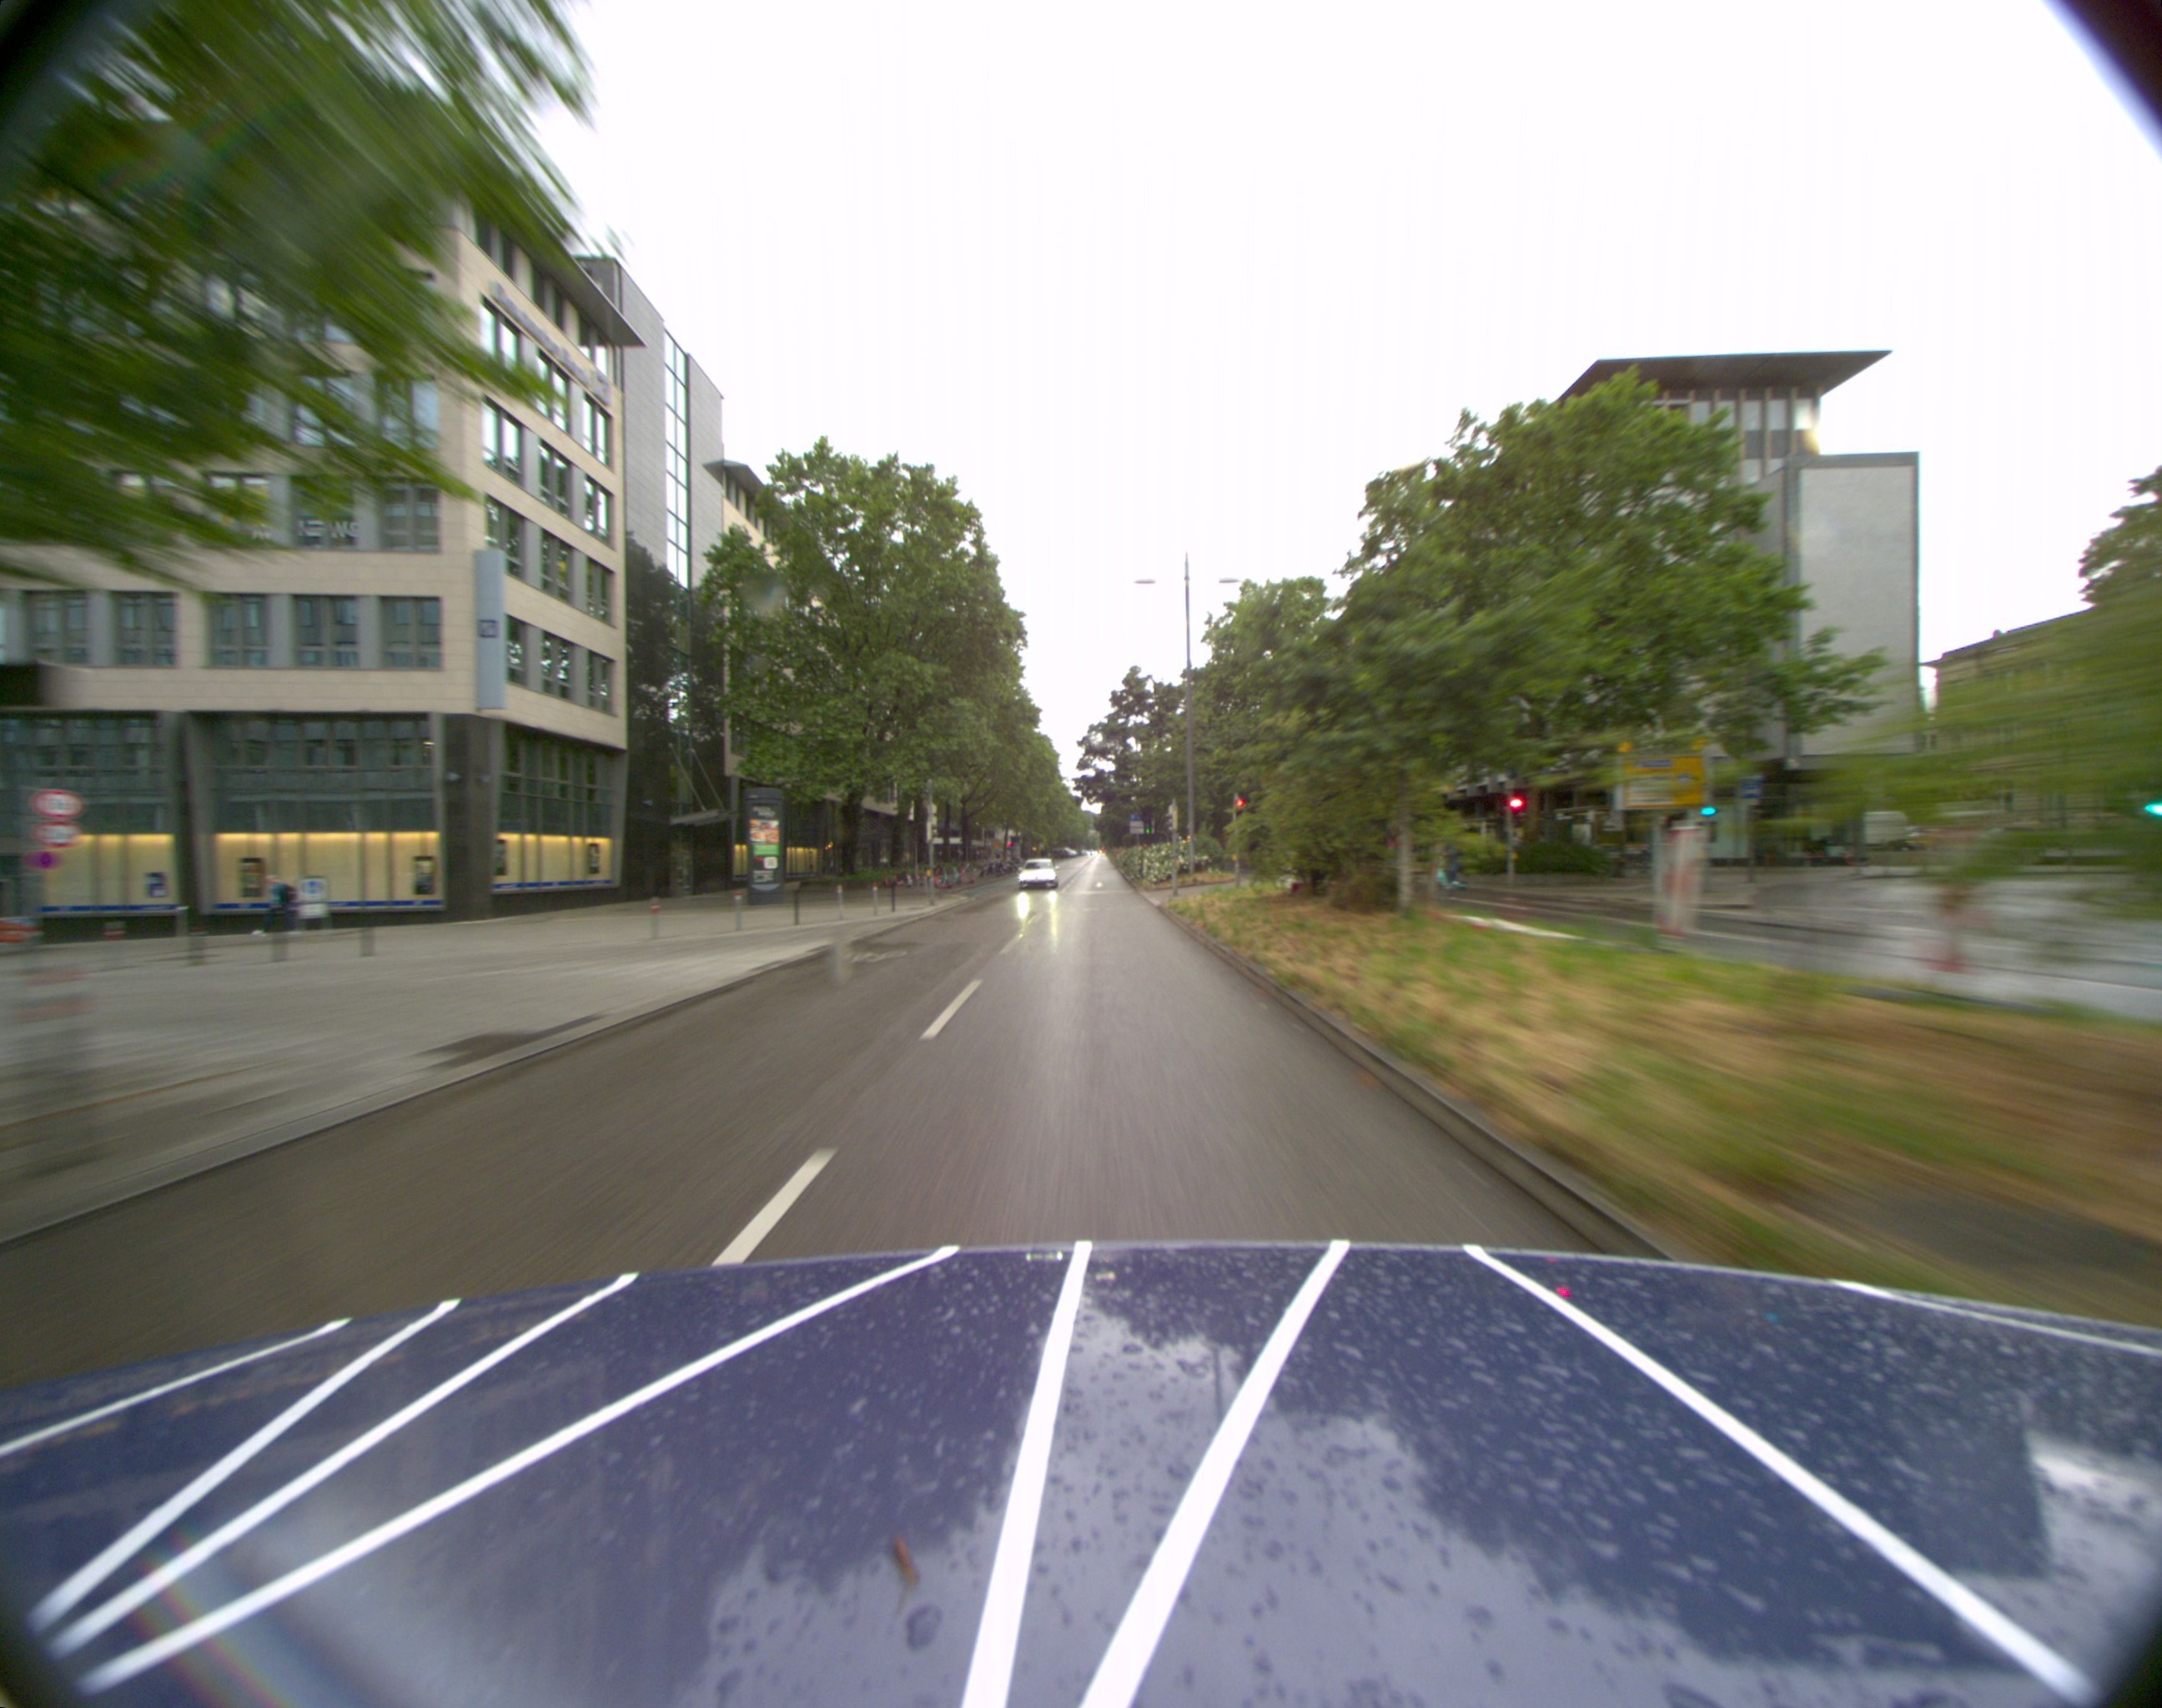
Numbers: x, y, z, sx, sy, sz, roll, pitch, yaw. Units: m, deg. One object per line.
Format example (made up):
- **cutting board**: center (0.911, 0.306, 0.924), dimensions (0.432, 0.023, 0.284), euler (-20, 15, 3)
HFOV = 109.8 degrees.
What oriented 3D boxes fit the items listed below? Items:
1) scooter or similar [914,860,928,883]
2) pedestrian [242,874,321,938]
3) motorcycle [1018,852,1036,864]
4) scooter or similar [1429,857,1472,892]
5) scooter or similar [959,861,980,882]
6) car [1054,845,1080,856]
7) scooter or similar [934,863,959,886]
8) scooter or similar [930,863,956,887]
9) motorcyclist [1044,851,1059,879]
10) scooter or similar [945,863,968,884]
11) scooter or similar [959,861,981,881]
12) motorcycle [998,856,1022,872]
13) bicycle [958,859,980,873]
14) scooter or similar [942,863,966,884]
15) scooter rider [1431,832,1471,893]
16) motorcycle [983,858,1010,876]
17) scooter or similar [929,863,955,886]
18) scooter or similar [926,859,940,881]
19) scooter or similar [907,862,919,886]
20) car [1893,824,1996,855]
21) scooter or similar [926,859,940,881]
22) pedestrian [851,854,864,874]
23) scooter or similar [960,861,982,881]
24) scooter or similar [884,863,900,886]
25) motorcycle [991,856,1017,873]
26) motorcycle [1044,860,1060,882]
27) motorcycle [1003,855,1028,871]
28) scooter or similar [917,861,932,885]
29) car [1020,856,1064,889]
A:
- **scooter or similar**: center (-8.874, 0.972, 42.232), dimensions (0.489, 1.252, 1.294), euler (0, -1, 2)
- **pedestrian**: center (-24.513, 1.579, 23.327), dimensions (1.276, 1.840, 0.919), euler (-3, 2, -8)
- **motorcycle**: center (-5.981, 0.422, 84.425), dimensions (0.682, 1.359, 1.950), euler (3, 2, 42)
- **scooter or similar**: center (12.200, 0.682, 25.090), dimensions (1.185, 1.107, 0.435), euler (-2, 1, -2)
- **scooter or similar**: center (-6.962, 1.083, 47.382), dimensions (1.293, 1.270, 0.536), euler (0, -1, -9)
- **car**: center (-3.487, -0.899, 189.225), dimensions (6.267, 2.665, 2.326), euler (-1, 2, 37)
- **scooter or similar**: center (-7.271, 1.116, 41.090), dimensions (1.291, 1.252, 0.490), euler (0, -1, 13)
- **scooter or similar**: center (-7.365, 1.133, 40.481), dimensions (1.291, 1.252, 0.490), euler (0, -1, 13)
- **motorcyclist**: center (-1.737, 0.646, 45.425), dimensions (0.744, 1.575, 1.059), euler (-2, 2, 2)
- **scooter or similar**: center (-7.439, 1.147, 45.307), dimensions (1.292, 1.228, 0.489), euler (0, -1, 4)
- **scooter or similar**: center (-7.017, 1.071, 48.069), dimensions (1.292, 1.270, 0.537), euler (0, -1, 6)
- **motorcycle**: center (-6.024, 0.842, 64.504), dimensions (1.963, 1.365, 0.728), euler (0, -1, -20)
- **bicycle**: center (-8.475, 0.888, 57.693), dimensions (0.637, 1.022, 1.766), euler (-1, 1, 30)
- **scooter or similar**: center (-7.457, 1.163, 44.563), dimensions (1.292, 1.228, 0.489), euler (0, -1, 4)
- **scooter rider**: center (12.210, 0.272, 25.092), dimensions (0.902, 1.929, 0.757), euler (-2, 1, -2)
- **motorcycle**: center (-6.450, 0.961, 57.699), dimensions (1.963, 1.365, 0.728), euler (0, -1, -14)
- **scooter or similar**: center (-7.631, 1.118, 41.635), dimensions (1.291, 1.252, 0.490), euler (0, -1, 13)
- **scooter or similar**: center (-8.460, 0.929, 43.451), dimensions (0.489, 1.252, 1.294), euler (0, -1, 2)
- **scooter or similar**: center (-8.764, 1.024, 39.612), dimensions (0.489, 1.191, 1.292), euler (-2, 2, -8)
- **car**: center (55.689, -0.891, 49.070), dimensions (4.137, 1.827, 1.930), euler (-2, 1, 9)
- **scooter or similar**: center (-8.460, 0.929, 43.451), dimensions (0.489, 1.252, 1.294), euler (0, -1, 2)
- **pedestrian**: center (-19.434, 0.874, 66.160), dimensions (0.727, 1.683, 0.830), euler (0, 1, 44)
- **scooter or similar**: center (-7.020, 1.061, 48.513), dimensions (1.292, 1.270, 0.537), euler (0, -1, 6)
- **scooter or similar**: center (-9.930, 1.065, 39.872), dimensions (0.490, 1.191, 1.290), euler (-3, 2, -29)
- **motorcycle**: center (-6.208, 0.848, 61.076), dimensions (1.963, 1.365, 0.728), euler (0, -1, -20)
- **motorcycle**: center (-1.714, 0.977, 45.539), dimensions (0.744, 1.194, 2.235), euler (-2, 1, 2)
- **motorcycle**: center (-5.939, 0.788, 68.897), dimensions (2.062, 1.420, 0.728), euler (0, -1, -20)
- **scooter or similar**: center (-8.335, 0.988, 40.454), dimensions (0.489, 1.252, 1.294), euler (0, -1, 2)
- **car**: center (-1.884, 0.888, 38.138), dimensions (1.795, 1.463, 3.794), euler (-2, 1, 2)
